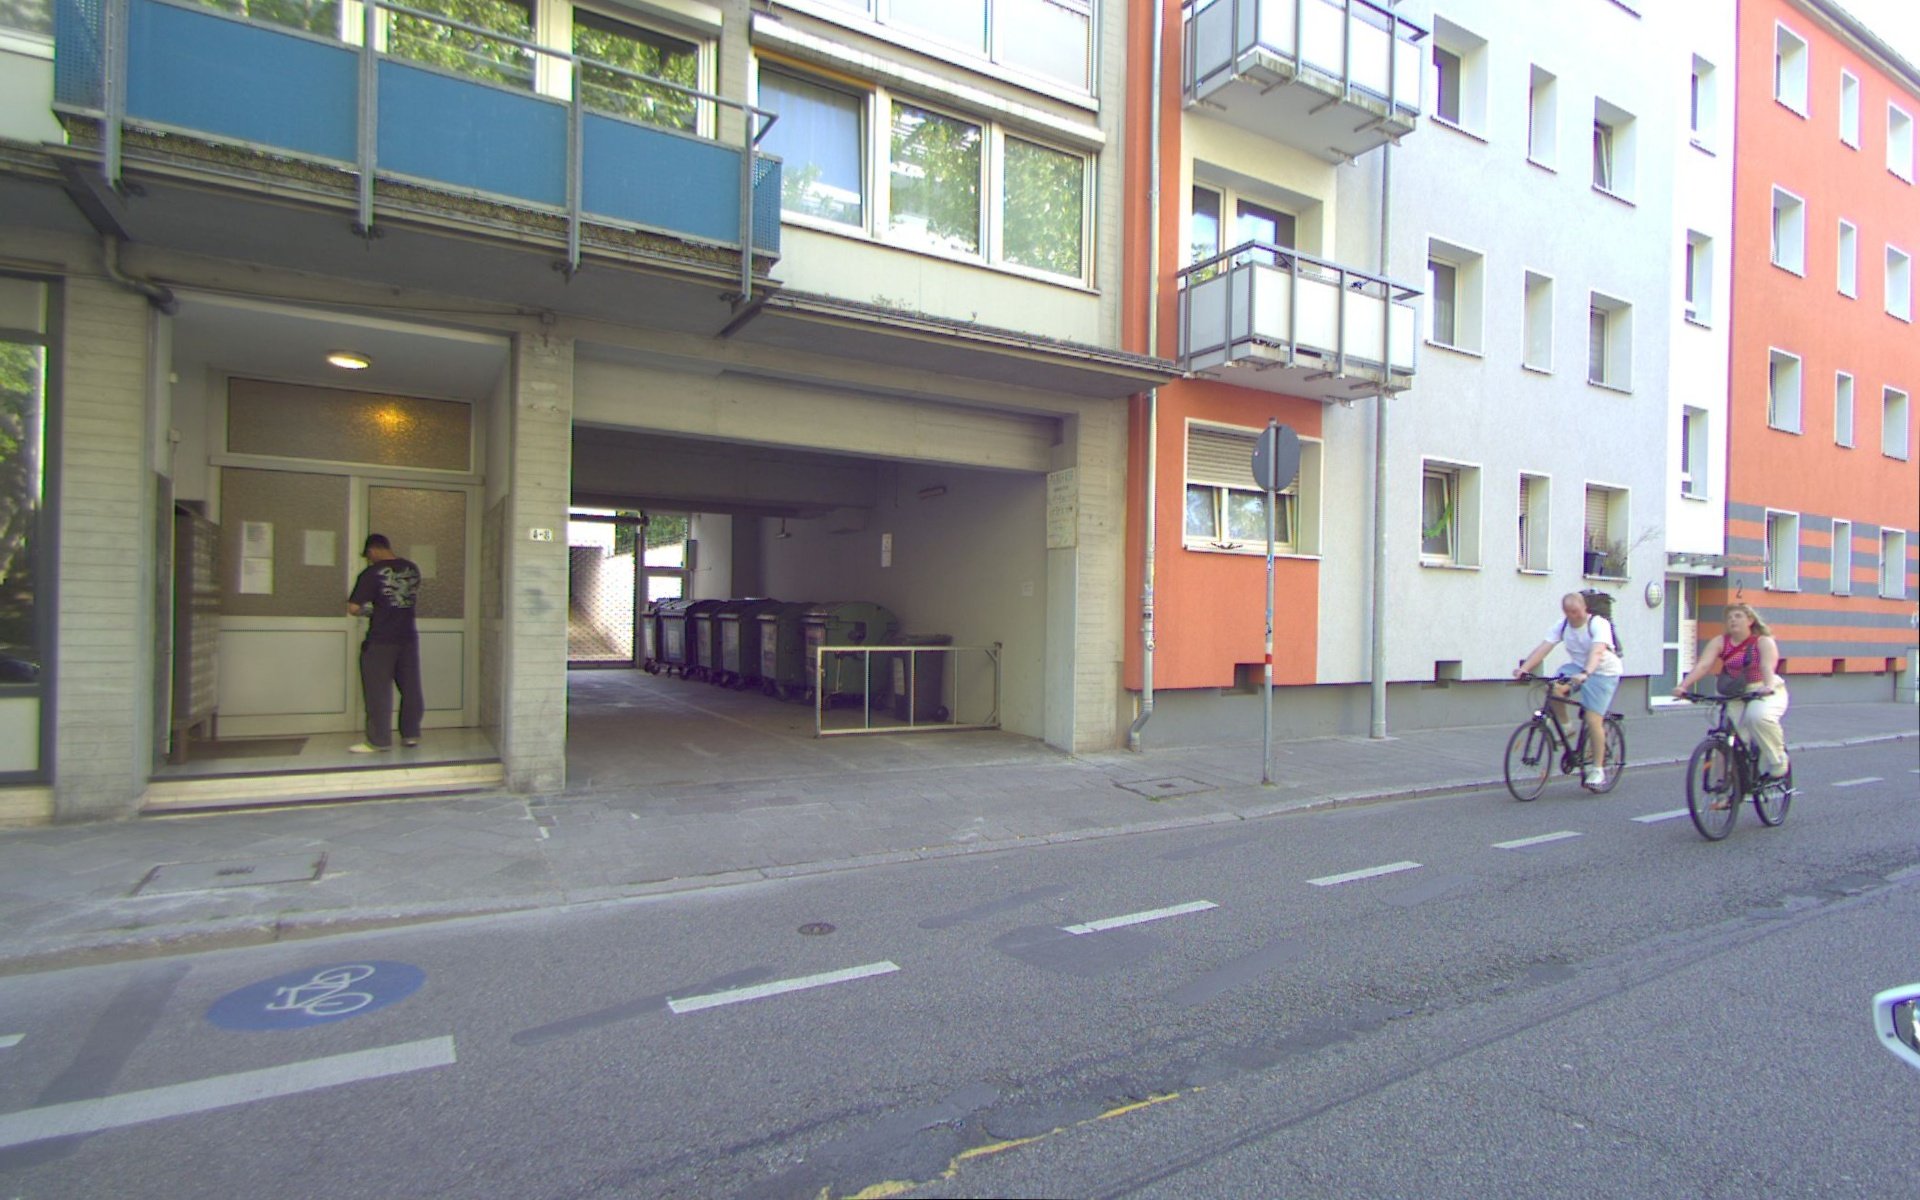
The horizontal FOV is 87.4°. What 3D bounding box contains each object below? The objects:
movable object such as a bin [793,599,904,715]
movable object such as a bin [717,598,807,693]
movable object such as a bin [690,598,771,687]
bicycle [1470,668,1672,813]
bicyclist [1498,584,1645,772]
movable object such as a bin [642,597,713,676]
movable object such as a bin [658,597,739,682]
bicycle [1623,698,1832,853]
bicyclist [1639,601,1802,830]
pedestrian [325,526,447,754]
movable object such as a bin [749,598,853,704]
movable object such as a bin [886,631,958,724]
[{"bbox_3d":[-1.548,0.746,13.798,1.086,1.503,1.251,1,0,-30],"label":"movable object such as a bin"},{"bbox_3d":[-3.286,0.731,16.646,1.167,1.503,1.073,1,0,-30],"label":"movable object such as a bin"},{"bbox_3d":[-4.054,0.728,17.685,1.080,1.503,1.159,1,0,-30],"label":"movable object such as a bin"},{"bbox_3d":[5.523,1.205,9.059,1.817,1.093,0.858,1,0,-33],"label":"bicycle"},{"bbox_3d":[5.483,0.665,9.023,0.830,1.575,0.837,1,0,-33],"label":"bicyclist"},{"bbox_3d":[-5.612,0.712,19.954,1.167,1.503,0.819,1,0,-30],"label":"movable object such as a bin"},{"bbox_3d":[-4.878,0.716,18.692,1.167,1.503,1.215,1,0,-30],"label":"movable object such as a bin"},{"bbox_3d":[5.866,1.274,7.648,1.843,0.941,0.689,1,0,-33],"label":"bicycle"},{"bbox_3d":[5.732,0.815,7.575,0.971,1.599,0.681,1,0,-33],"label":"bicyclist"},{"bbox_3d":[-4.554,0.309,8.003,0.537,1.736,0.662,1,0,3],"label":"pedestrian"},{"bbox_3d":[-2.411,0.737,15.147,1.167,1.503,1.252,1,0,-30],"label":"movable object such as a bin"},{"bbox_3d":[-0.476,0.948,12.470,0.687,1.094,0.579,1,0,-30],"label":"movable object such as a bin"}]
